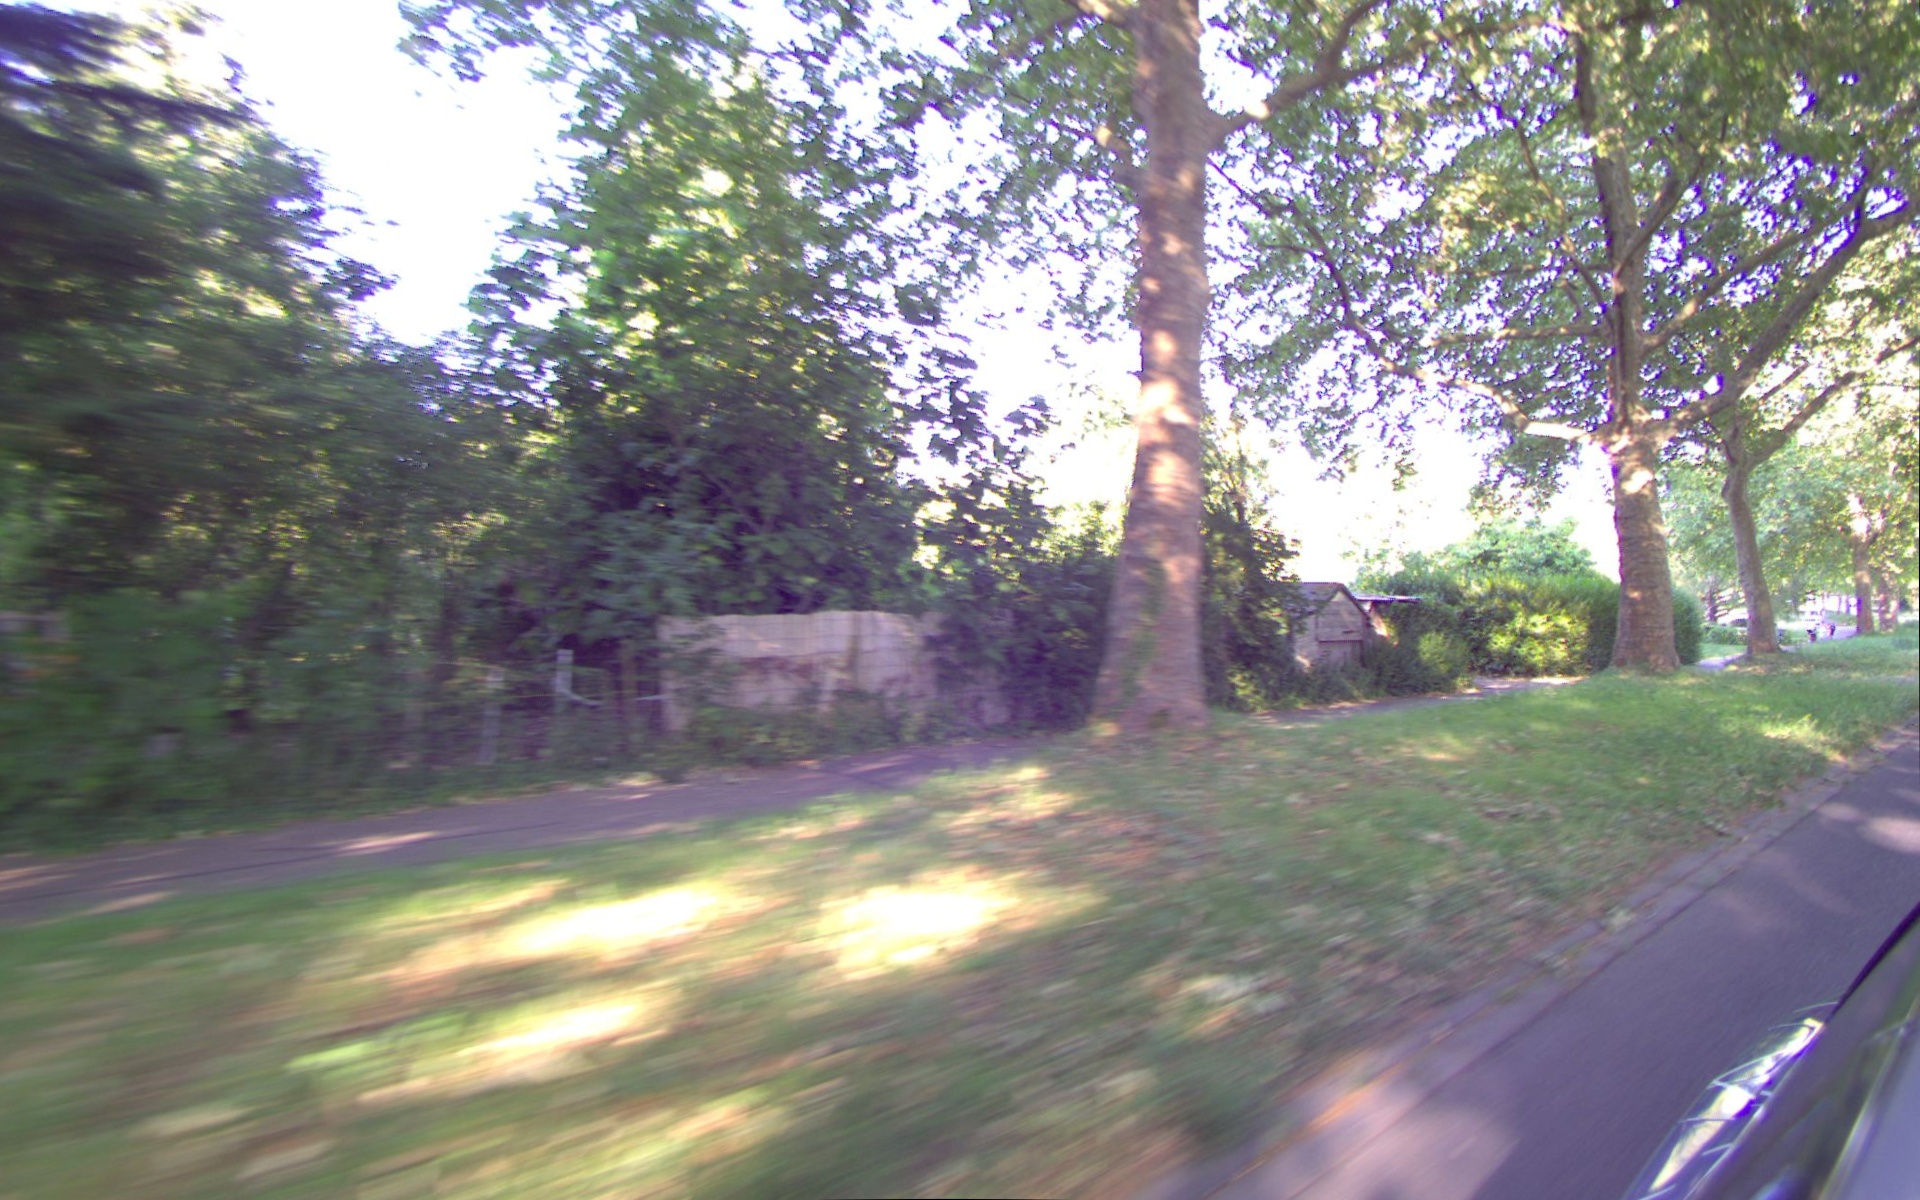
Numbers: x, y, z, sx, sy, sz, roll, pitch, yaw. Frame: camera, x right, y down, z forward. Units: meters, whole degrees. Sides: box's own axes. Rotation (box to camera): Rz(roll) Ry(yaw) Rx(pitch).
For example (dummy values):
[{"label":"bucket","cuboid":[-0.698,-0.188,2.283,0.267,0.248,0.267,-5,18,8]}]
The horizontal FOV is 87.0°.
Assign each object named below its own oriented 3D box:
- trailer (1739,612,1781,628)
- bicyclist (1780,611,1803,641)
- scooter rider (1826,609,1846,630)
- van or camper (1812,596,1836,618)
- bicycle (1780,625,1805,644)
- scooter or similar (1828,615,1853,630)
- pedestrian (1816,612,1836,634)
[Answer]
[{"label":"trailer","cuboid":[56.042,1.404,70.879,1.180,1.065,2.121,0,1,-41]},{"label":"bicyclist","cuboid":[39.302,1.240,47.838,0.757,1.383,0.735,0,0,-40]},{"label":"scooter rider","cuboid":[68.702,1.523,79.389,0.829,1.596,0.784,1,-1,0]},{"label":"van or camper","cuboid":[116.761,0.946,136.835,2.377,2.835,5.603,0,1,40]},{"label":"bicycle","cuboid":[39.483,1.612,47.994,1.855,0.827,0.553,0,1,-39]},{"label":"scooter or similar","cuboid":[69.037,1.765,79.364,1.570,1.149,0.340,0,0,4]},{"label":"pedestrian","cuboid":[62.326,1.656,72.860,0.768,1.596,0.846,0,0,-24]}]
